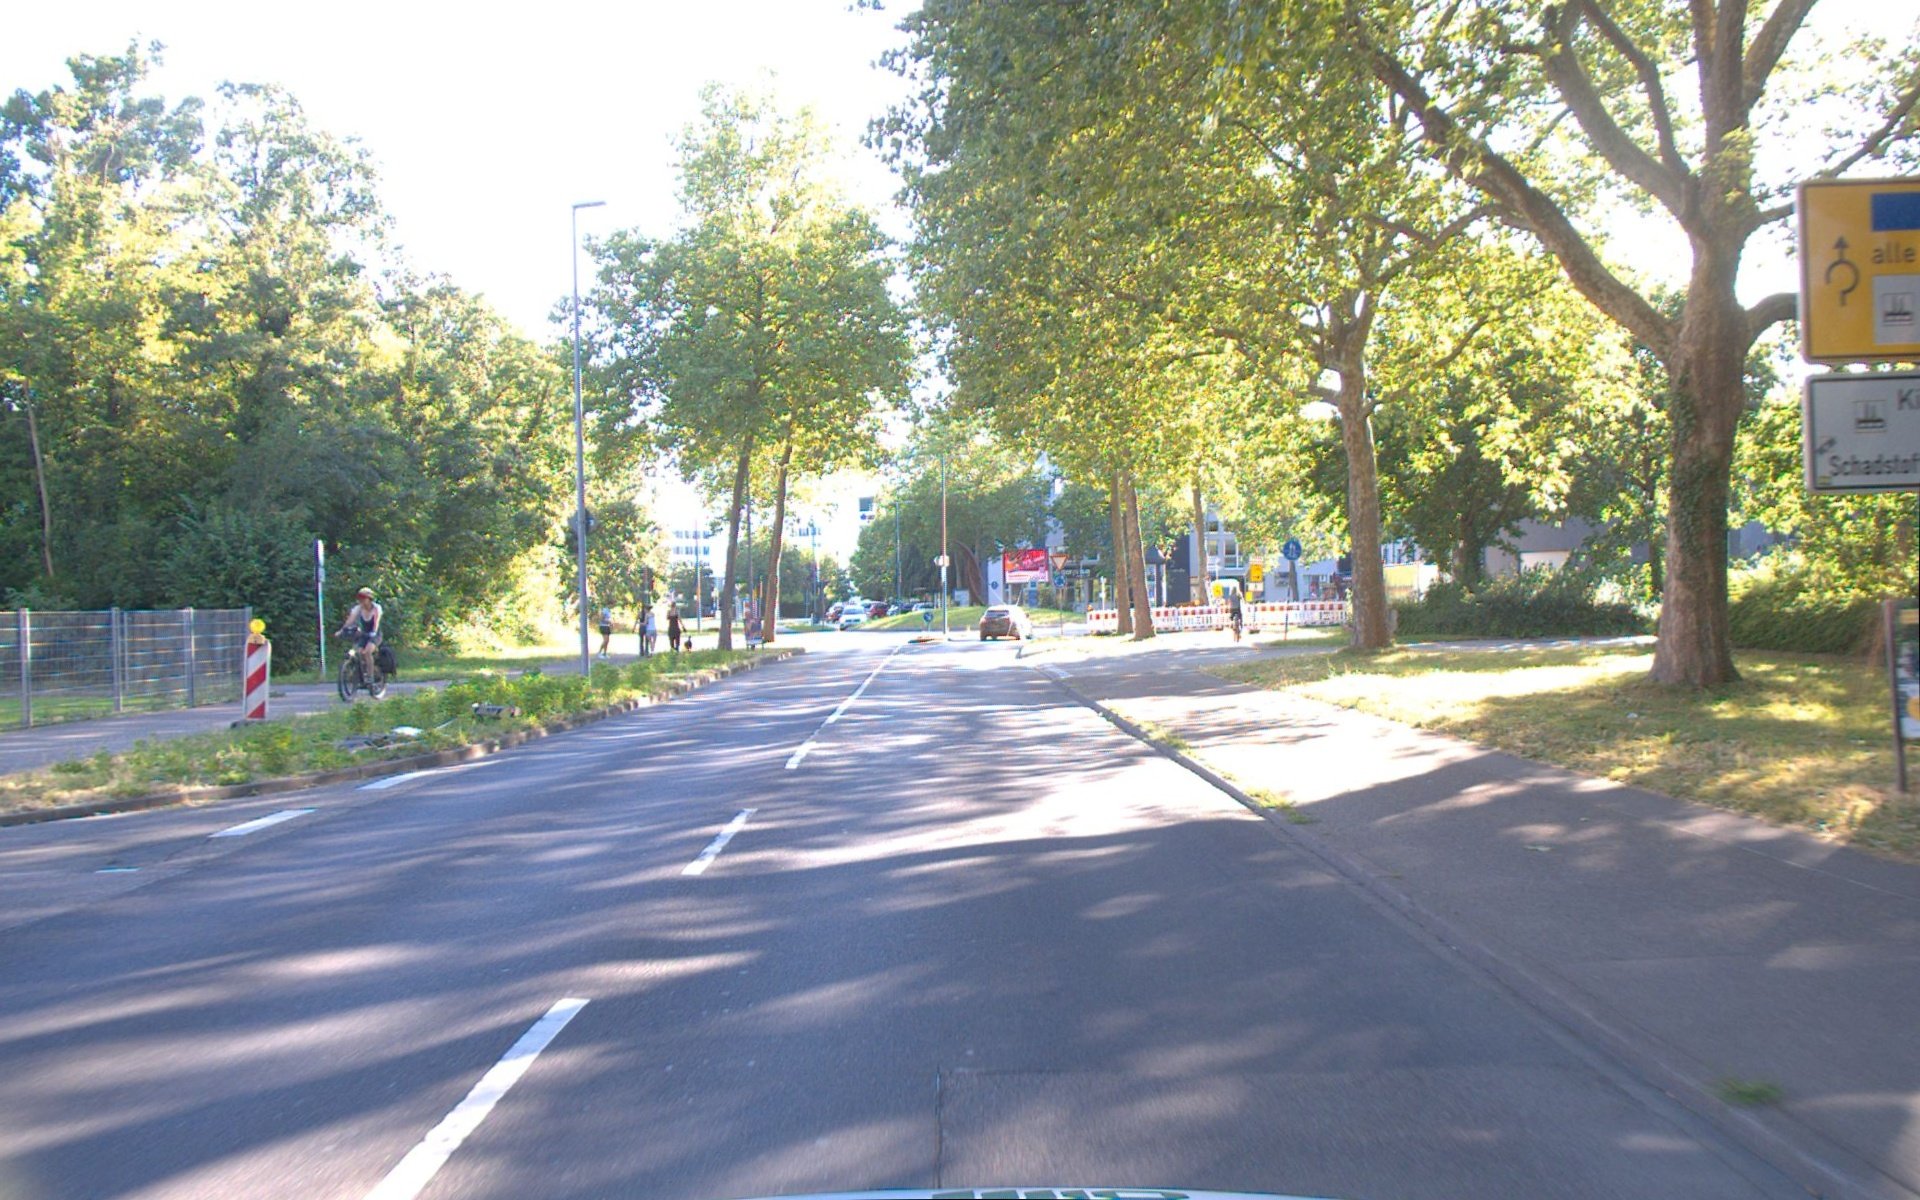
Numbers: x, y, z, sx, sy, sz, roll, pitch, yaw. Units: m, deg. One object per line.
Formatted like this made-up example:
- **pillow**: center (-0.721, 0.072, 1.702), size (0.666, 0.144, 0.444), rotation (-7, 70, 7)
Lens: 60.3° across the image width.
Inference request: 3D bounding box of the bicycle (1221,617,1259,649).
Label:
- **bicycle**: center (8.895, 1.055, 52.594), size (0.754, 0.981, 2.173), rotation (-3, -1, -1)

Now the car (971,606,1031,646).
- **car**: center (1.786, 1.125, 71.565), size (1.800, 1.633, 3.866), rotation (-1, 0, 13)

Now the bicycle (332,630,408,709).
- **bicycle**: center (-10.119, 1.171, 28.433), size (0.567, 1.267, 2.107), rotation (-2, 0, -1)

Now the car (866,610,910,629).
- **car**: center (-6.993, 1.869, 160.419), size (3.945, 1.777, 1.777), rotation (0, -1, -31)

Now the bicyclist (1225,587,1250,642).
- **bicyclist**: center (8.878, 0.457, 52.900), size (0.637, 1.735, 0.871), rotation (0, -1, 0)

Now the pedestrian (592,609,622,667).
- **pedestrian**: center (-10.867, 1.181, 50.981), size (0.619, 1.769, 0.664), rotation (-1, -1, 22)

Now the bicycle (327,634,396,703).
- **bicycle**: center (-11.102, 1.257, 30.739), size (0.567, 1.207, 2.031), rotation (-2, -1, -1)

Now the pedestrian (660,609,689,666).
- **pedestrian**: center (-9.083, 1.185, 52.725), size (0.733, 1.769, 0.852), rotation (-1, -1, 1)

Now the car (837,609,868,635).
- **car**: center (-7.036, 1.426, 108.360), size (1.954, 1.606, 3.996), rotation (-1, -1, -4)

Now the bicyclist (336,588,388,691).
- **bicyclist**: center (-11.108, 0.729, 30.736), size (0.567, 1.864, 0.968), rotation (-2, -1, -2)

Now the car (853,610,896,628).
- **car**: center (-8.436, 1.883, 162.927), size (3.945, 1.777, 1.777), rotation (0, -1, -31)

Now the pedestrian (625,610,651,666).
- **pedestrian**: center (-10.254, 1.202, 52.655), size (0.651, 1.769, 0.751), rotation (-1, -1, 1)

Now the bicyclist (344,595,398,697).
- **bicyclist**: center (-10.128, 0.776, 28.466), size (0.567, 1.709, 0.970), rotation (-2, -1, -2)

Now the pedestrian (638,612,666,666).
- **pedestrian**: center (-9.523, 1.203, 51.072), size (0.563, 1.666, 0.634), rotation (-2, -1, 25)
